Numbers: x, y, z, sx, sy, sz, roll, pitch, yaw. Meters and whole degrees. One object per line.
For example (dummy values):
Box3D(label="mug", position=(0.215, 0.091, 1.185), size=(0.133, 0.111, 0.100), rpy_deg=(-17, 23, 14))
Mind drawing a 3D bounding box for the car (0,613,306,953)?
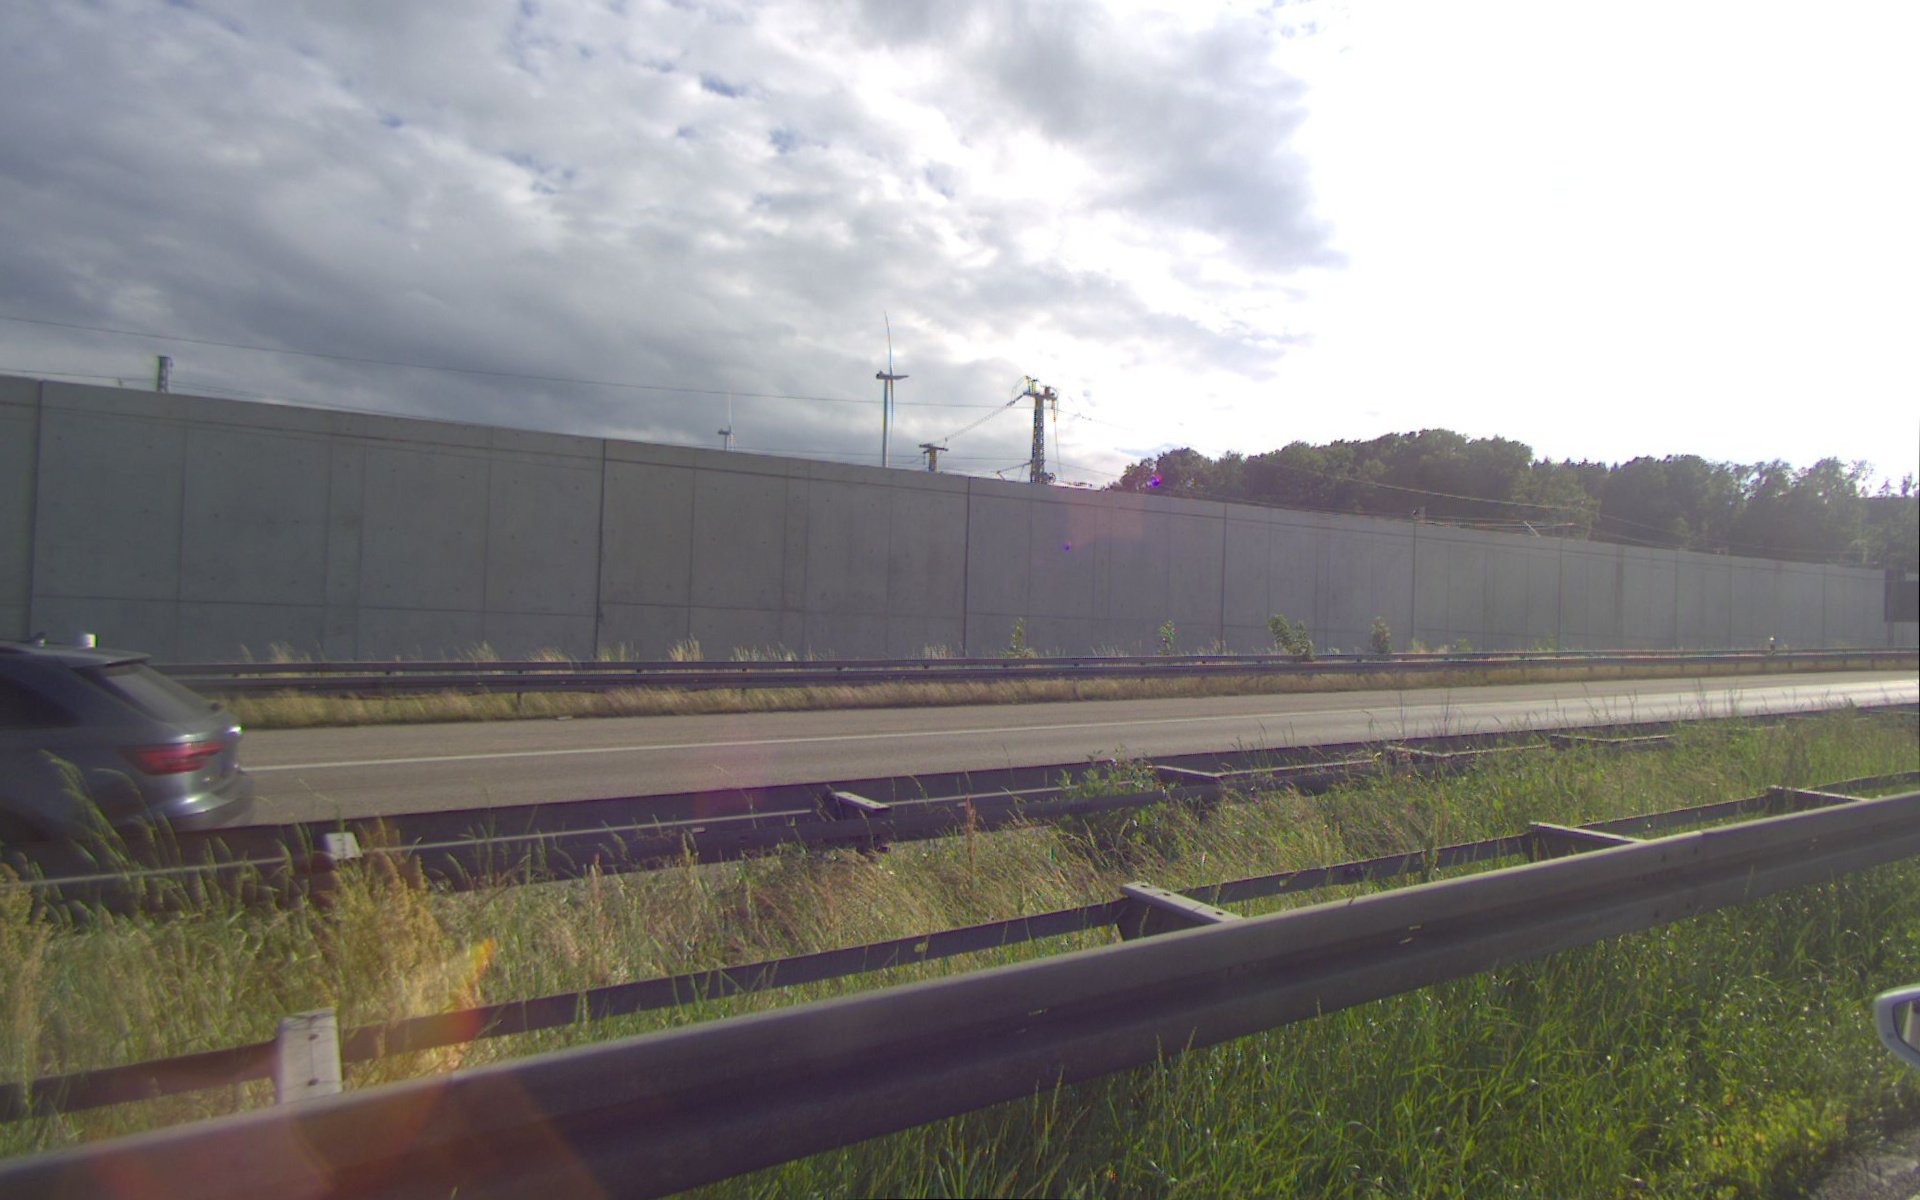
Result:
Box3D(label="car", position=(-5.701, 0.811, 4.820), size=(4.135, 1.483, 1.893), rpy_deg=(2, 0, -30))
